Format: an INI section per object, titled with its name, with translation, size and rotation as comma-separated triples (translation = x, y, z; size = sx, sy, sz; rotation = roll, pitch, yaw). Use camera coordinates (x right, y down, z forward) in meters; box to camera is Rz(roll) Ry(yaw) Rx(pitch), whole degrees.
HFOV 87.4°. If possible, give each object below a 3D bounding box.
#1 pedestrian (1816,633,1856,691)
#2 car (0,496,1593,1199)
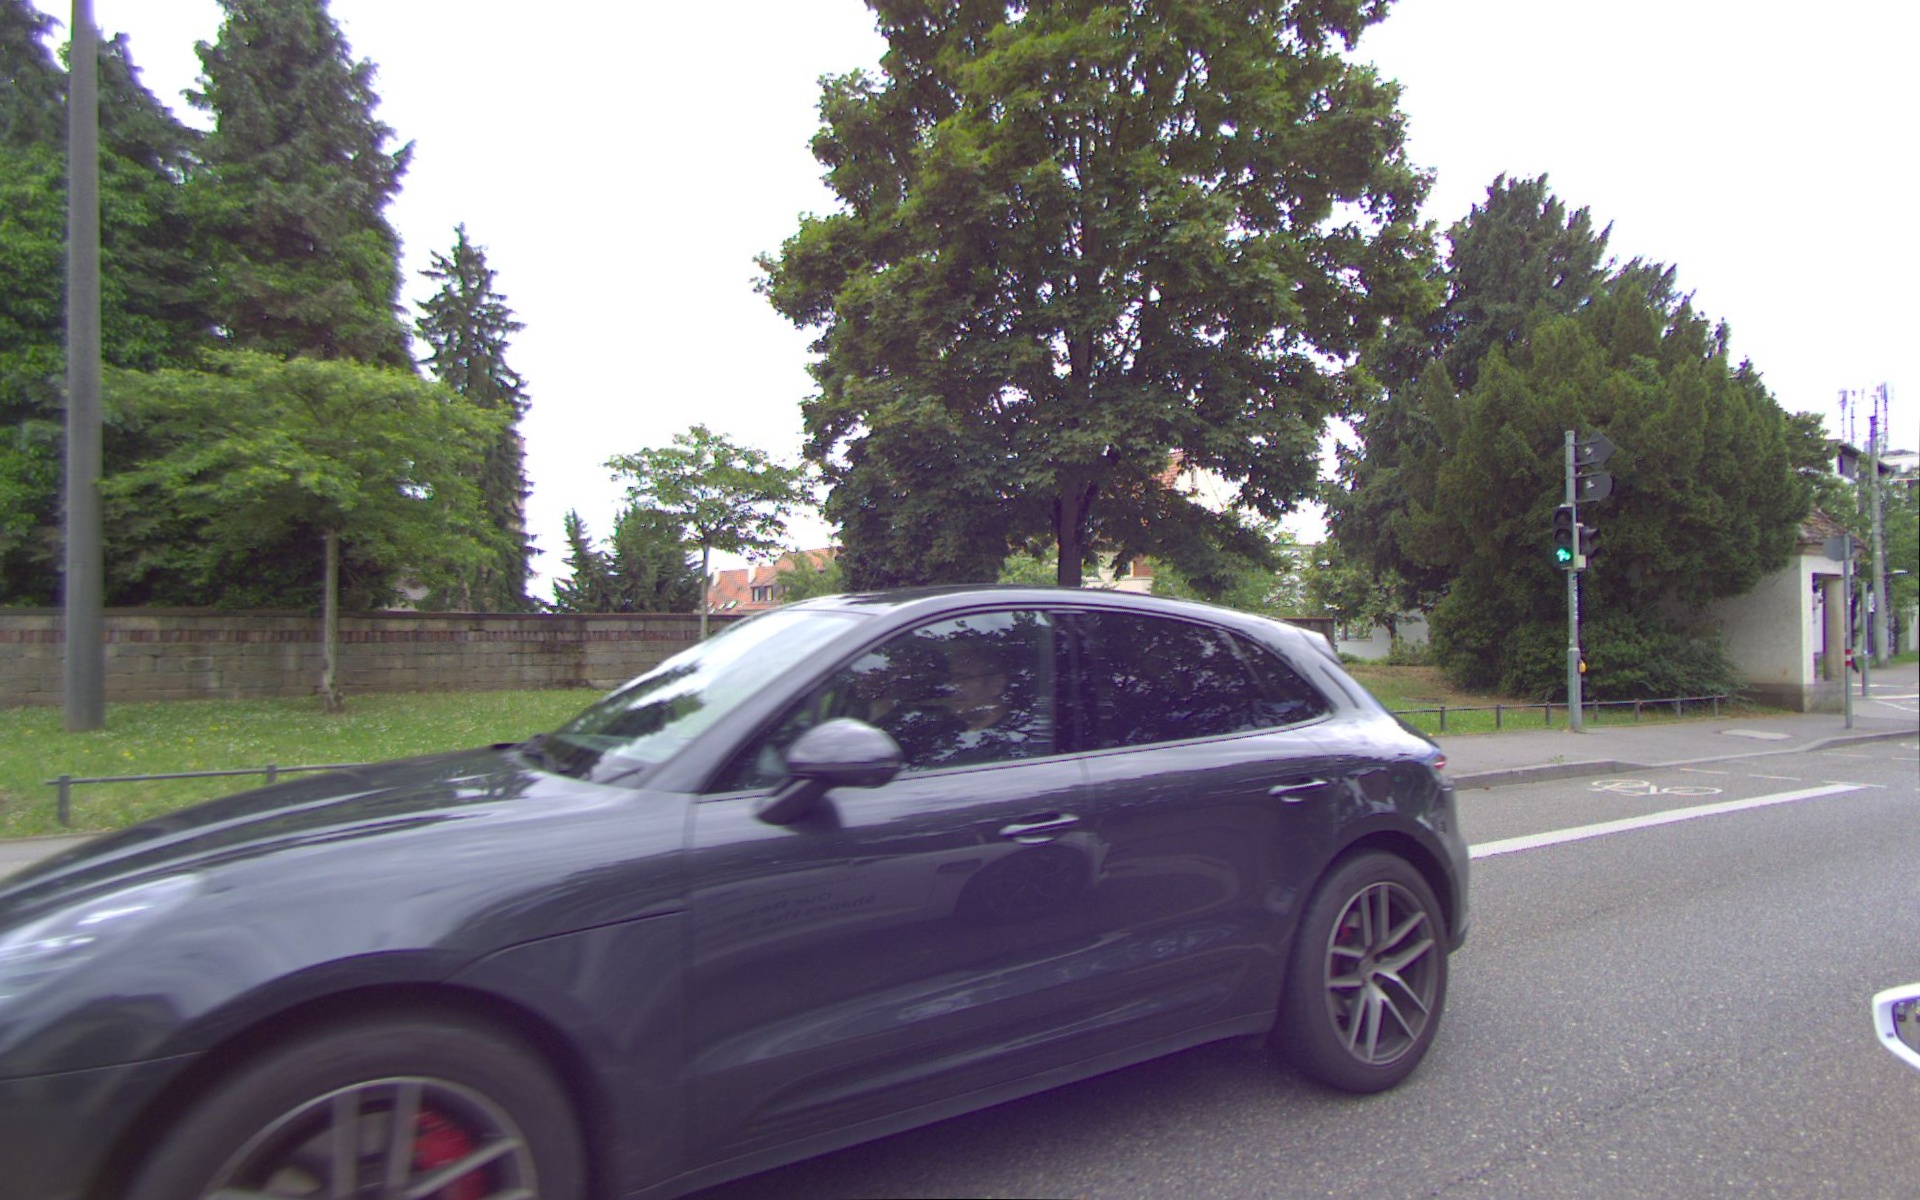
[pedestrian]
translation = 26.241, 1.852, 30.080
size = 0.811, 1.666, 0.670
rotation = -2, -1, -36
[car]
translation = -0.116, 0.706, 3.372
size = 4.473, 1.551, 1.930
rotation = 1, -4, -31
